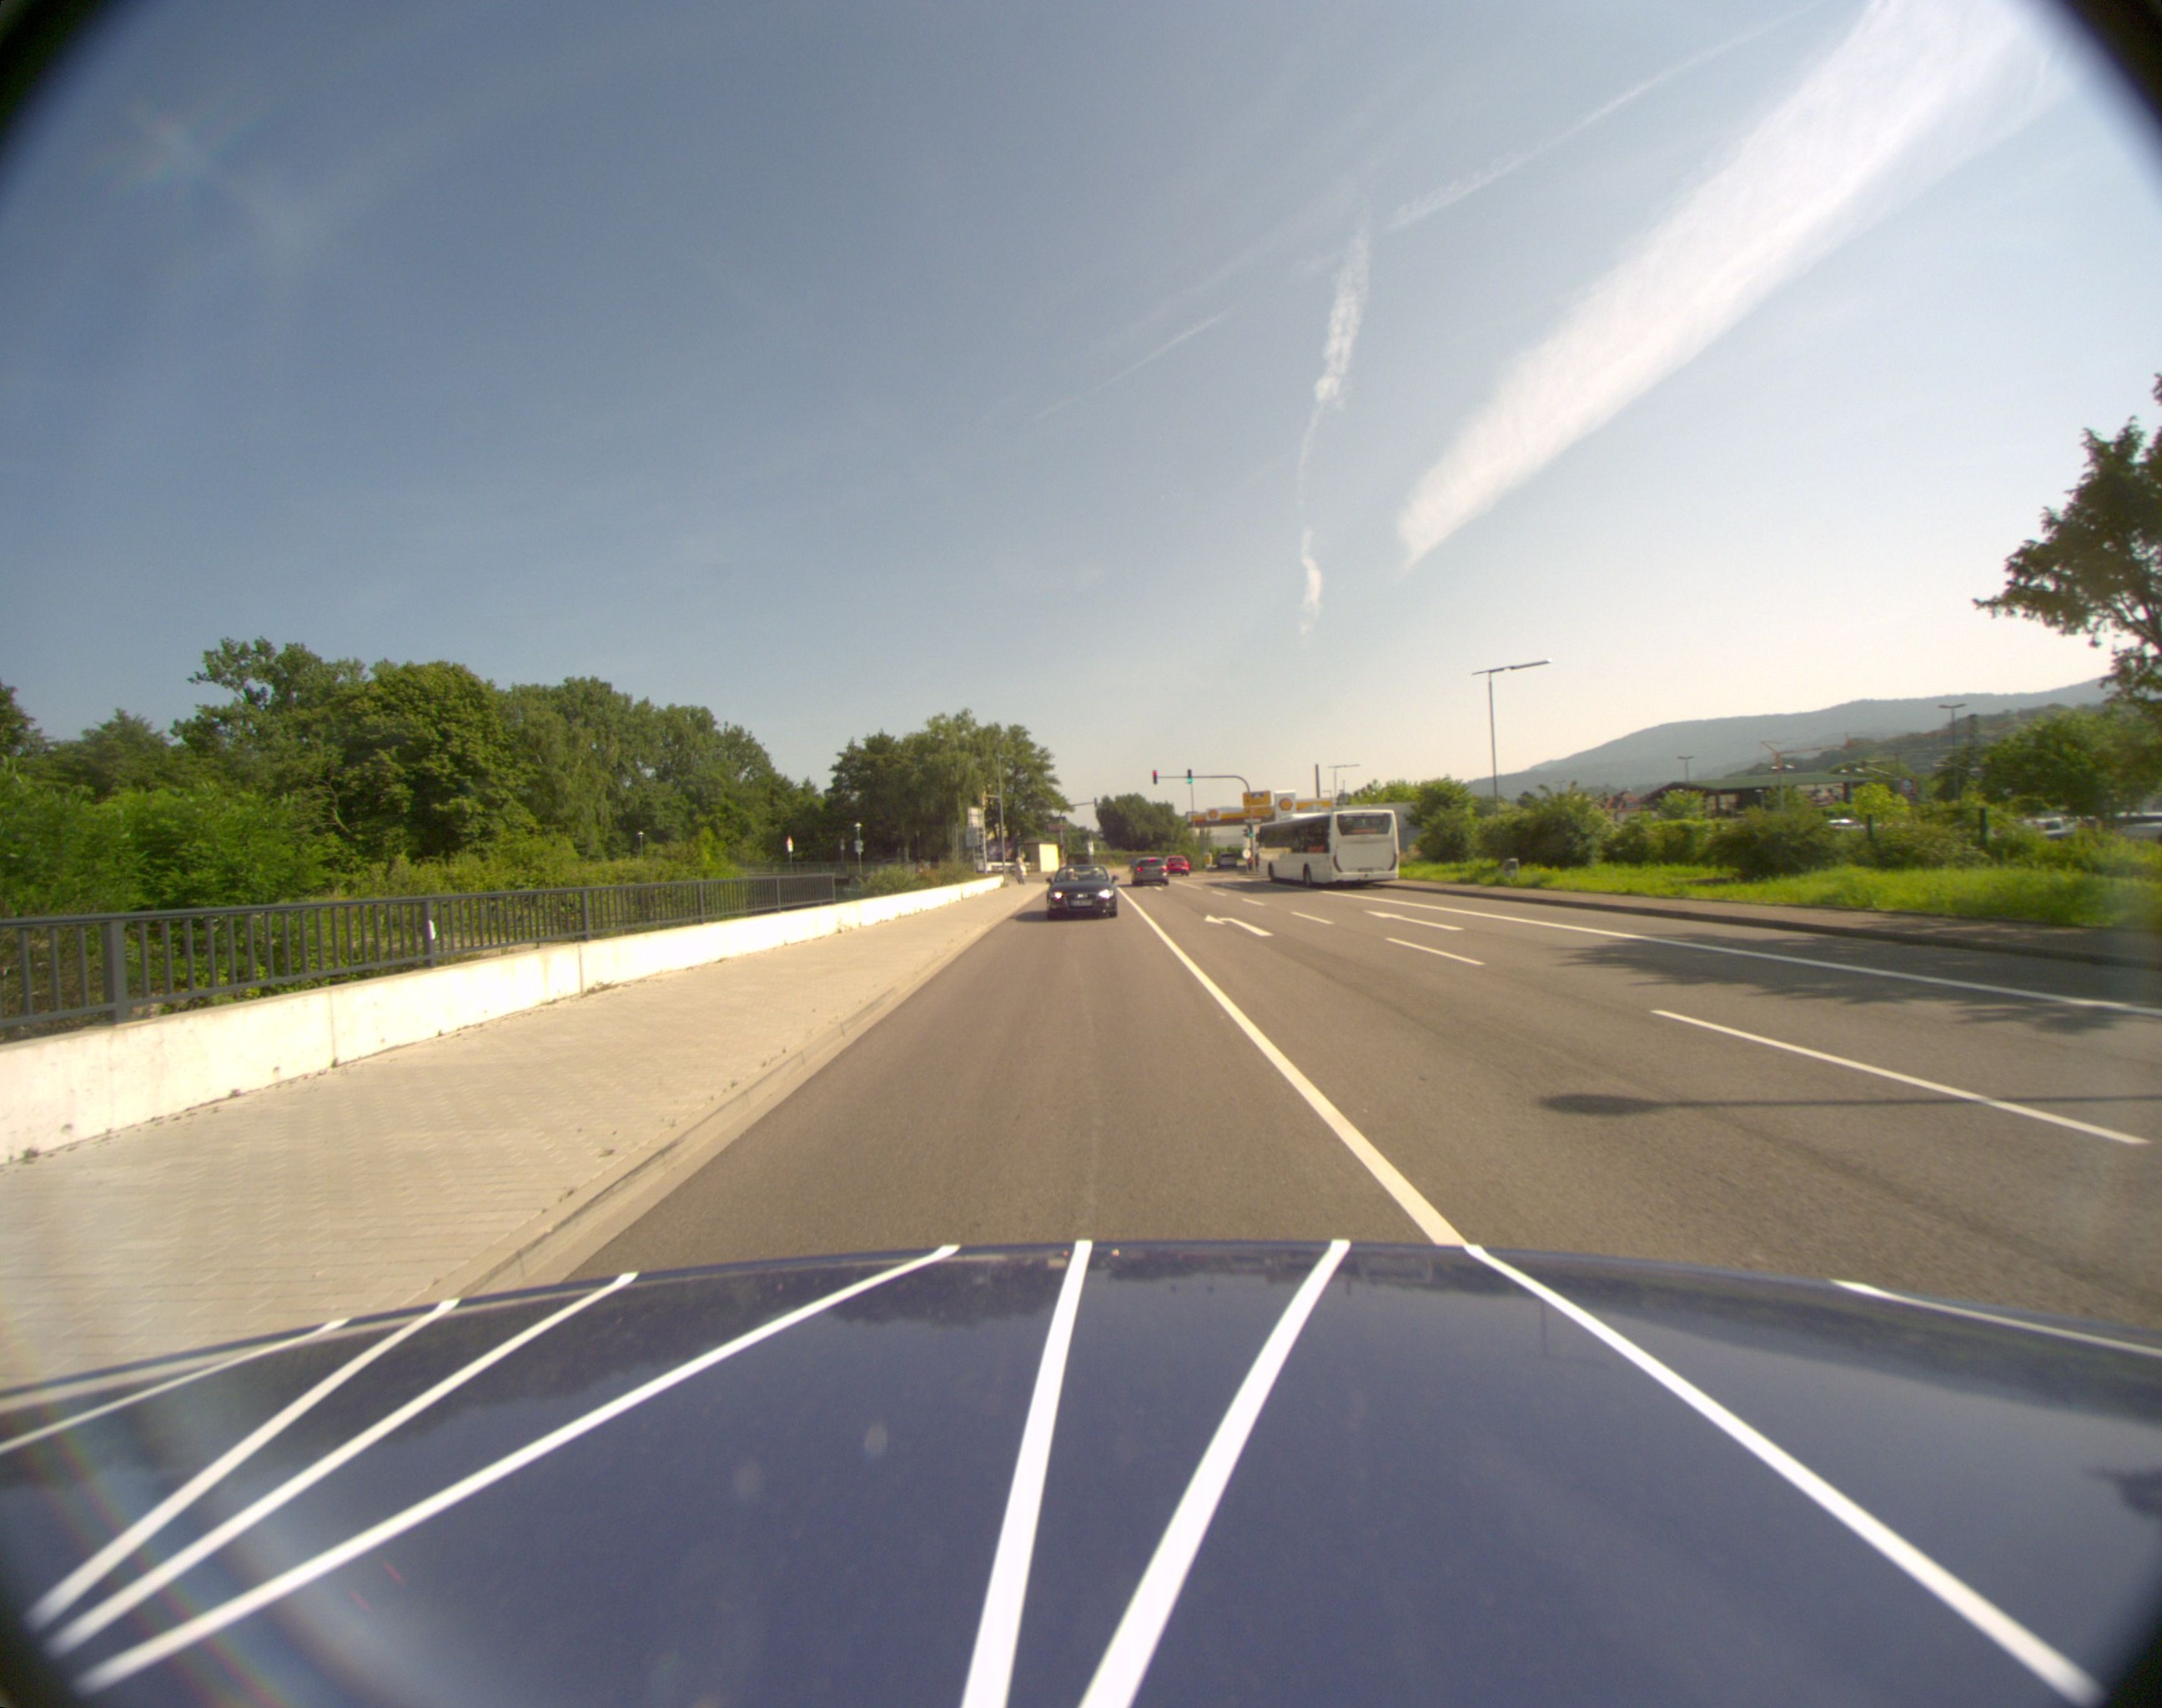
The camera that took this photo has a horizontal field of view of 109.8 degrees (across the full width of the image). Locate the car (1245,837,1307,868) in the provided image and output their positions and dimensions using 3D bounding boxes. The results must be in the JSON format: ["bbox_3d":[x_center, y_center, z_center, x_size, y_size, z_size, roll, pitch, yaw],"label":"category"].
[{"bbox_3d":[13.397,-0.096,52.439,3.783,1.785,1.703,-6,0,6],"label":"car"}]

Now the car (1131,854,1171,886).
[{"bbox_3d":[3.606,0.789,39.631,1.776,1.464,4.220,-2,0,1],"label":"car"}]

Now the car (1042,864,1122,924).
[{"bbox_3d":[0.116,0.994,20.418,1.868,1.323,4.233,-2,0,2],"label":"car"}]

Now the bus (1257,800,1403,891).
[{"bbox_3d":[10.574,-0.343,34.009,2.627,3.291,11.956,-2,0,0],"label":"bus"}]

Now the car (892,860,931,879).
[{"bbox_3d":[-14.558,1.300,65.164,1.671,1.509,4.073,-1,1,-39],"label":"car"}]

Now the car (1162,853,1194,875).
[{"bbox_3d":[7.135,0.675,56.206,1.842,1.483,4.431,-2,0,0],"label":"car"}]

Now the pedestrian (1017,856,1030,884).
[{"bbox_3d":[-3.452,0.958,45.752,0.712,1.661,0.593,-2,1,-6],"label":"pedestrian"}]
